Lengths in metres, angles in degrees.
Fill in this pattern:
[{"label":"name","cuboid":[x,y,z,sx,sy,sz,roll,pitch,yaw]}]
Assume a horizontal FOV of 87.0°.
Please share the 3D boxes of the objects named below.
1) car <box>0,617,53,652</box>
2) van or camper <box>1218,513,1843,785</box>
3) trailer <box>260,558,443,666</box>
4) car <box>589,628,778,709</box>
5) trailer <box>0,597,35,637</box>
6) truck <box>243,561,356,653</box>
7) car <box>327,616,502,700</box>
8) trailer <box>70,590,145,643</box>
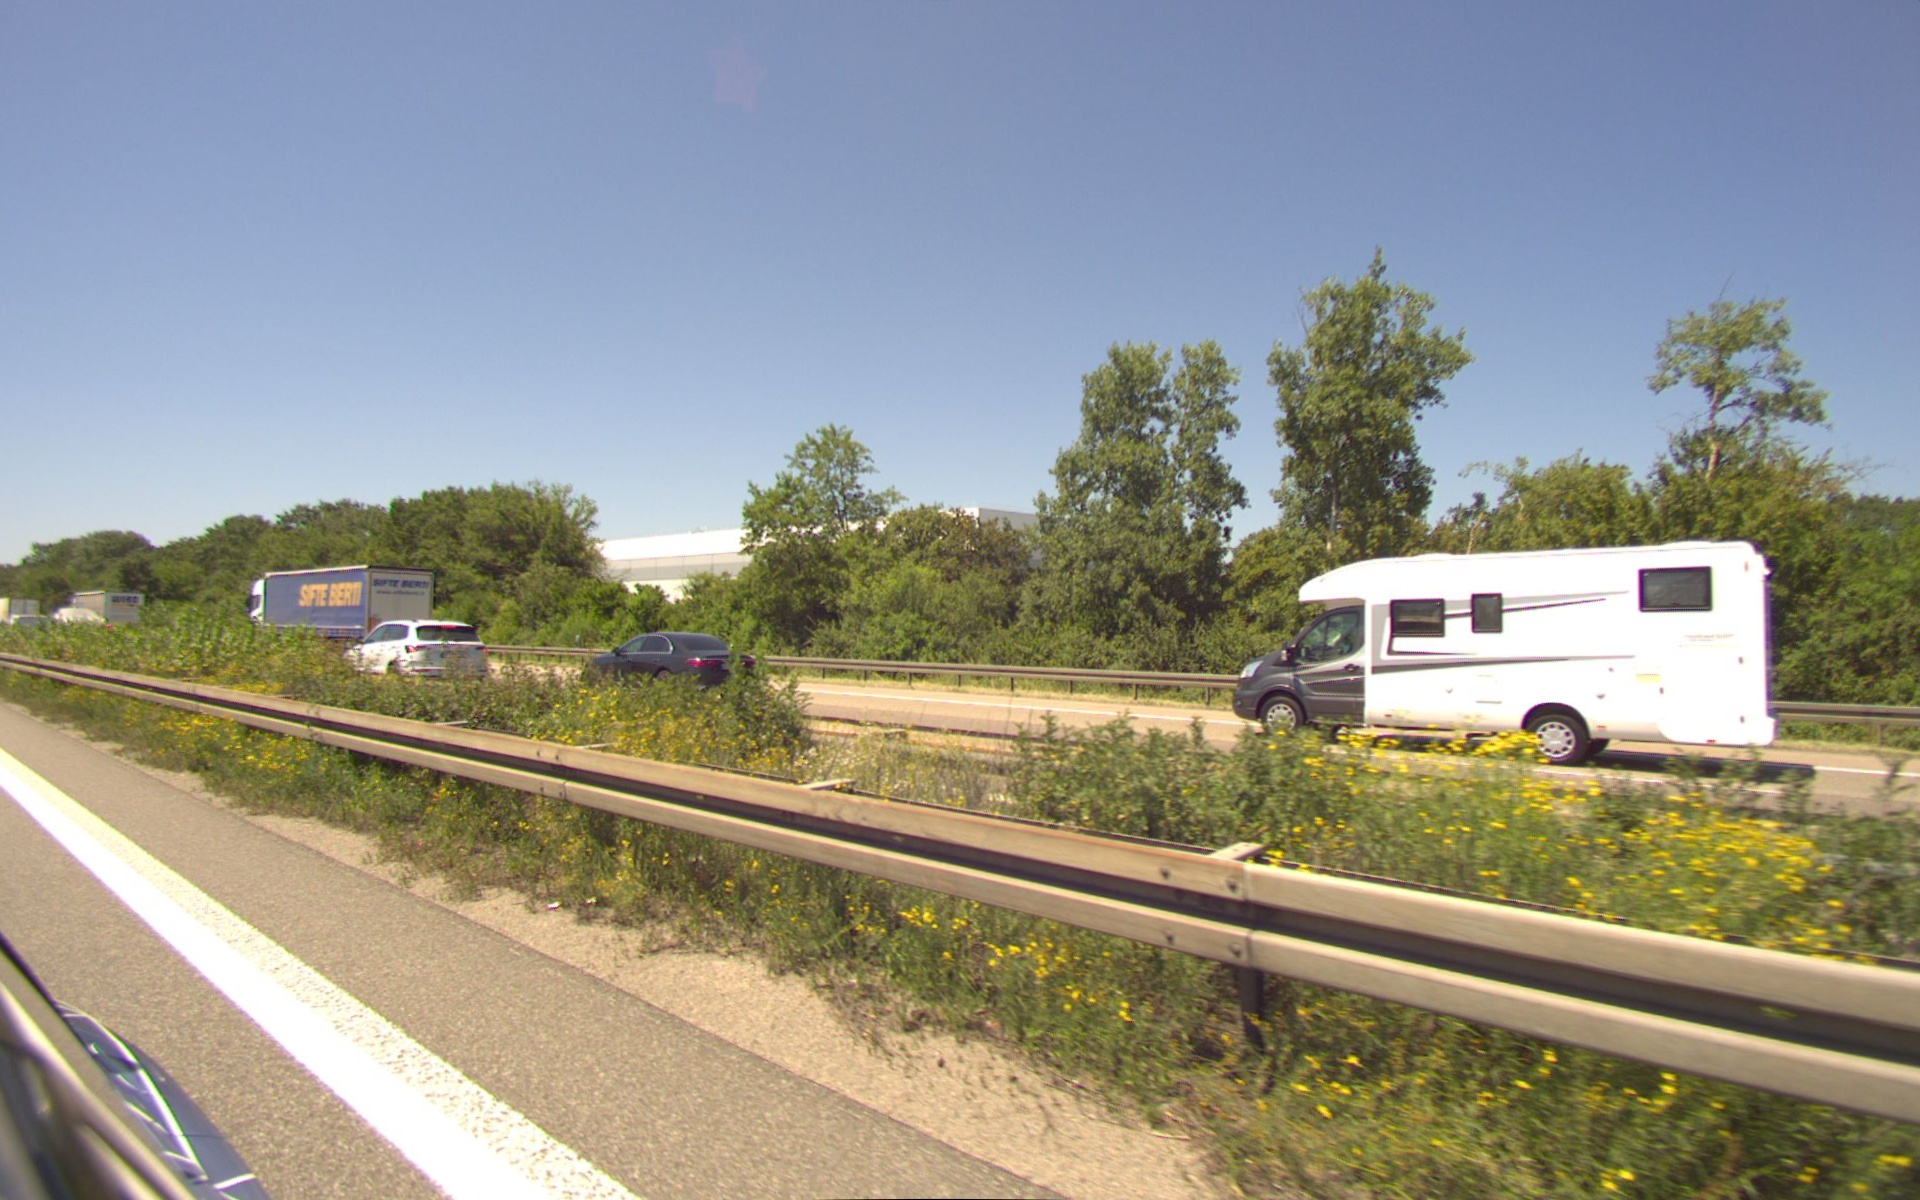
[{"label":"car","cuboid":[-59.490,2.168,64.355,4.709,2.088,1.974,-1,0,40]},{"label":"van or camper","cuboid":[7.807,0.646,14.664,7.443,2.992,2.820,-1,-3,41]},{"label":"trailer","cuboid":[-27.715,0.428,45.564,13.731,4.243,2.946,1,-1,42]},{"label":"car","cuboid":[-5.876,1.389,21.404,3.856,1.564,1.802,-1,-3,35]},{"label":"trailer","cuboid":[-103.374,1.904,110.005,14.345,4.116,2.710,-1,-3,43]},{"label":"truck","cuboid":[-32.606,0.324,49.884,6.309,4.243,2.974,1,-1,41]},{"label":"car","cuboid":[-11.960,1.233,22.068,4.588,1.627,1.716,-1,-6,41]},{"label":"trailer","cuboid":[-72.254,1.459,85.623,14.048,4.134,2.728,-1,-4,42]}]
